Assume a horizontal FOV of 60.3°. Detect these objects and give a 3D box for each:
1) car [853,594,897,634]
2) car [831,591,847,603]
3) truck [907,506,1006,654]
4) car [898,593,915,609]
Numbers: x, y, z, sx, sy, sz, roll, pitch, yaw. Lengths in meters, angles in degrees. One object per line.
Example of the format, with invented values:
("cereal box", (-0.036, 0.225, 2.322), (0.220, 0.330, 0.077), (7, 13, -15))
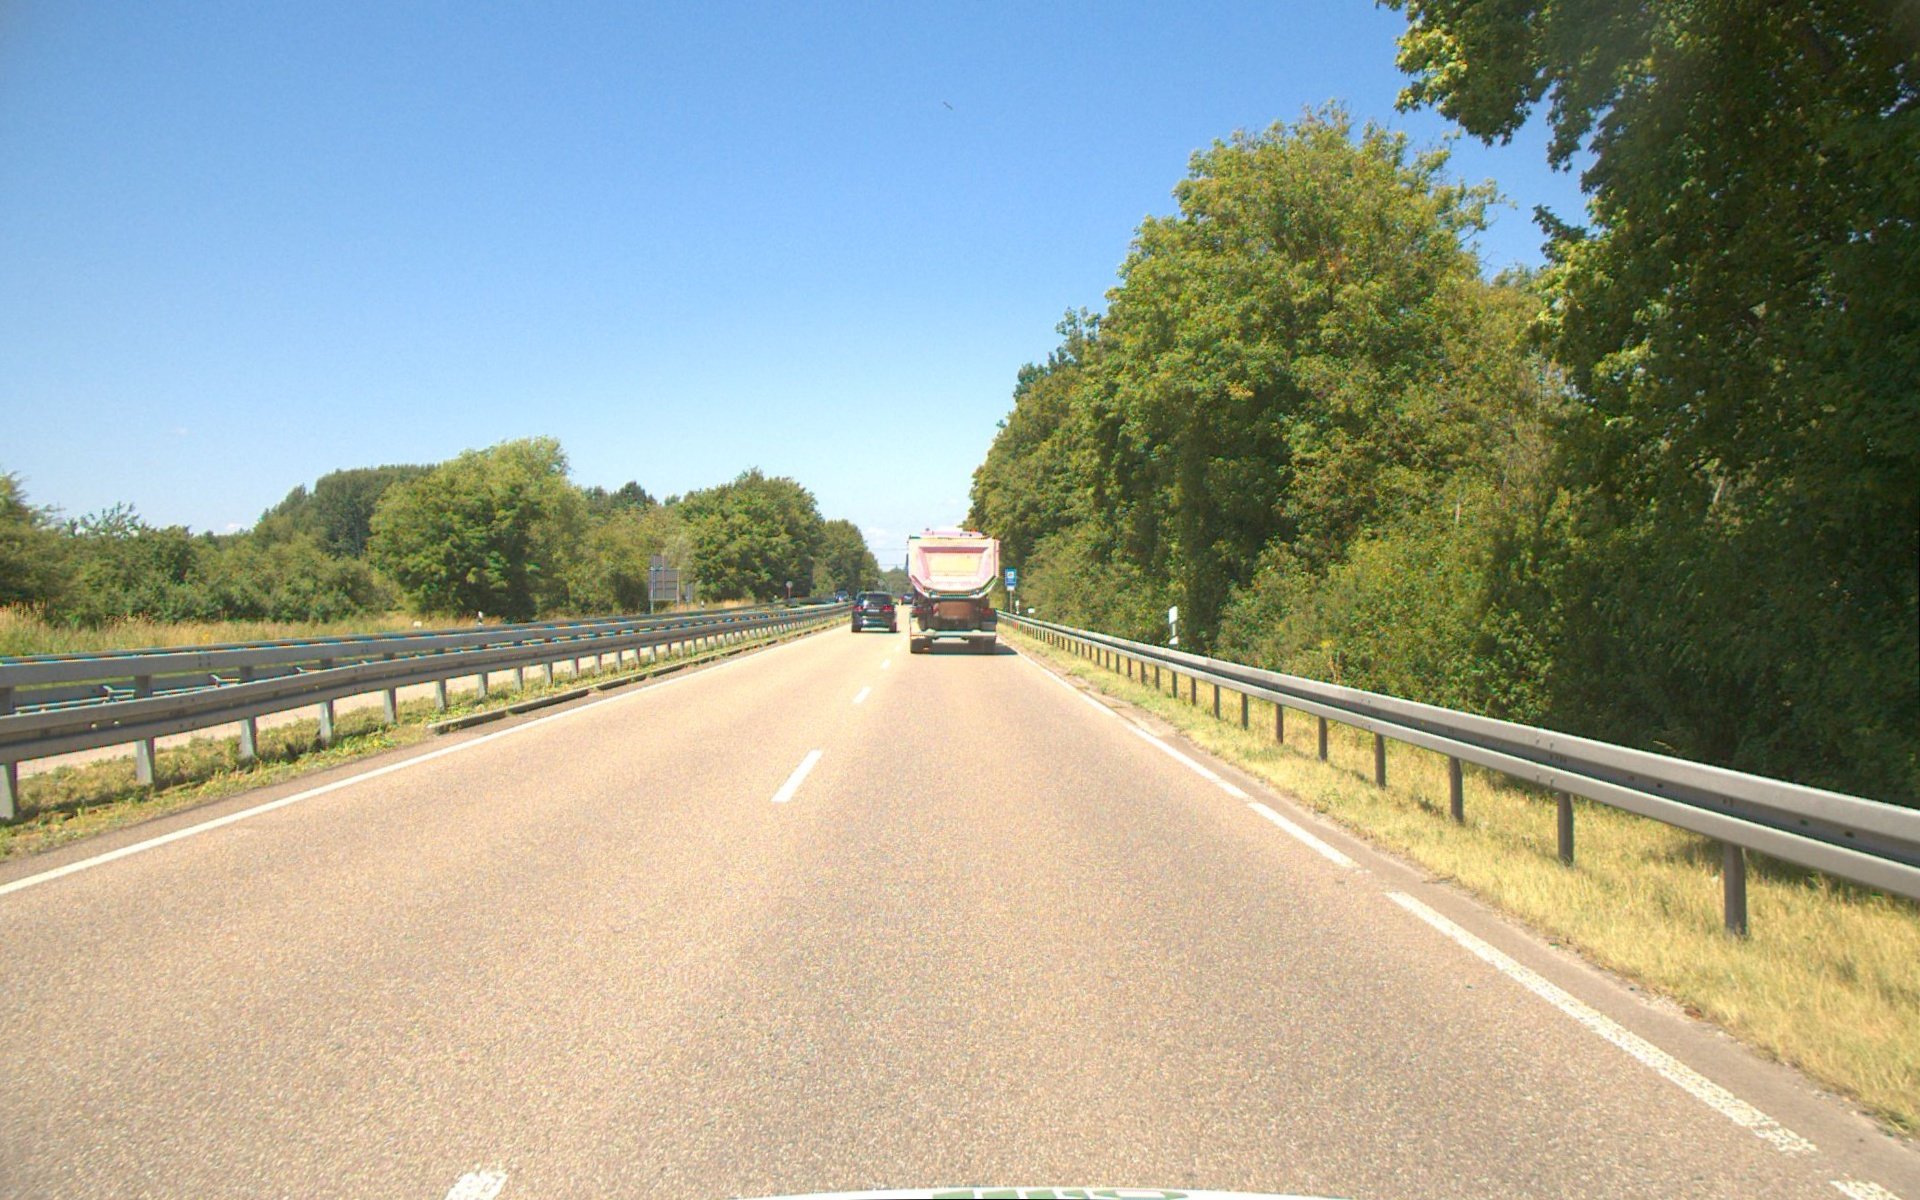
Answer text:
("car", (-3.719, 0.631, 72.721), (1.820, 1.701, 3.998), (0, -1, -2))
("car", (-16.847, -0.405, 230.278), (1.743, 1.648, 4.507), (-2, 0, 2))
("truck", (-0.262, -0.590, 50.815), (2.665, 3.999, 12.366), (0, 0, -2))
("car", (-5.981, 0.098, 185.511), (1.820, 1.748, 3.998), (0, -1, -2))
